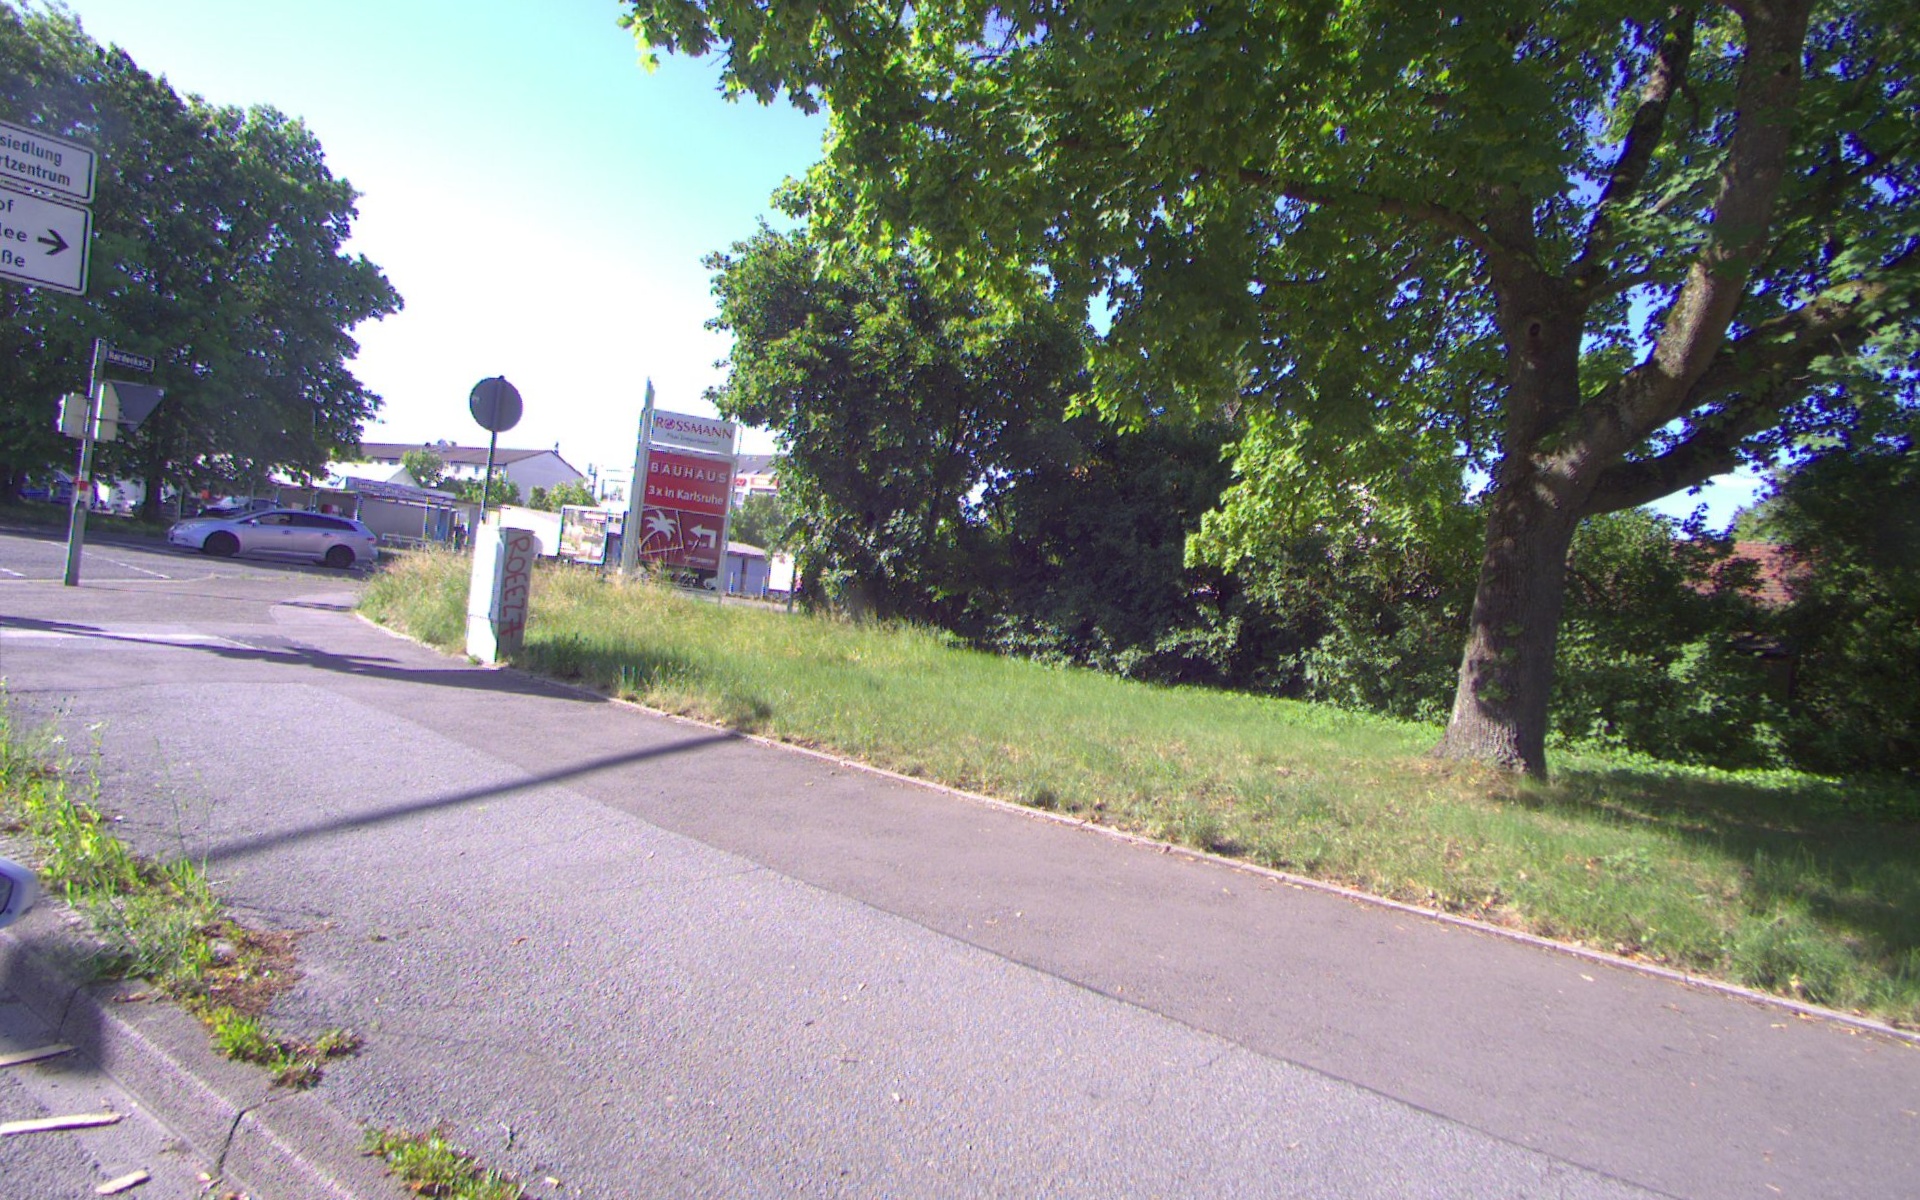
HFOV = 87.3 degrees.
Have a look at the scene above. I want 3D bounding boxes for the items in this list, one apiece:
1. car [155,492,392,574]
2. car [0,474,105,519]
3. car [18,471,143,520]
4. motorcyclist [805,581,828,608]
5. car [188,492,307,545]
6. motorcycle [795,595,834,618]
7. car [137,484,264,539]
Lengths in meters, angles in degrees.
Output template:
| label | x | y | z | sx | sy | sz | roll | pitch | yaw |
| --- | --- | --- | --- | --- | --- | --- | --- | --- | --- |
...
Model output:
| label | x | y | z | sx | sy | sz | roll | pitch | yaw |
| --- | --- | --- | --- | --- | --- | --- | --- | --- | --- |
| car | -18.646 | -1.779 | 27.531 | 1.973 | 1.504 | 4.994 | 7 | 0 | 43 |
| car | -41.993 | -4.764 | 46.164 | 1.712 | 1.537 | 3.902 | 7 | 0 | 9 |
| car | -39.182 | -4.623 | 44.939 | 1.712 | 1.537 | 3.902 | 7 | 0 | 9 |
| motorcyclist | -6.935 | -0.250 | 48.757 | 0.645 | 1.191 | 0.765 | 8 | 2 | 42 |
| car | -30.299 | -3.423 | 42.923 | 1.712 | 1.701 | 4.001 | 7 | 0 | 9 |
| motorcycle | -7.024 | 0.332 | 48.741 | 0.645 | 0.949 | 1.781 | 8 | 1 | 42 |
| car | -32.343 | -3.734 | 43.005 | 1.962 | 1.772 | 4.000 | 7 | 1 | 9 |
